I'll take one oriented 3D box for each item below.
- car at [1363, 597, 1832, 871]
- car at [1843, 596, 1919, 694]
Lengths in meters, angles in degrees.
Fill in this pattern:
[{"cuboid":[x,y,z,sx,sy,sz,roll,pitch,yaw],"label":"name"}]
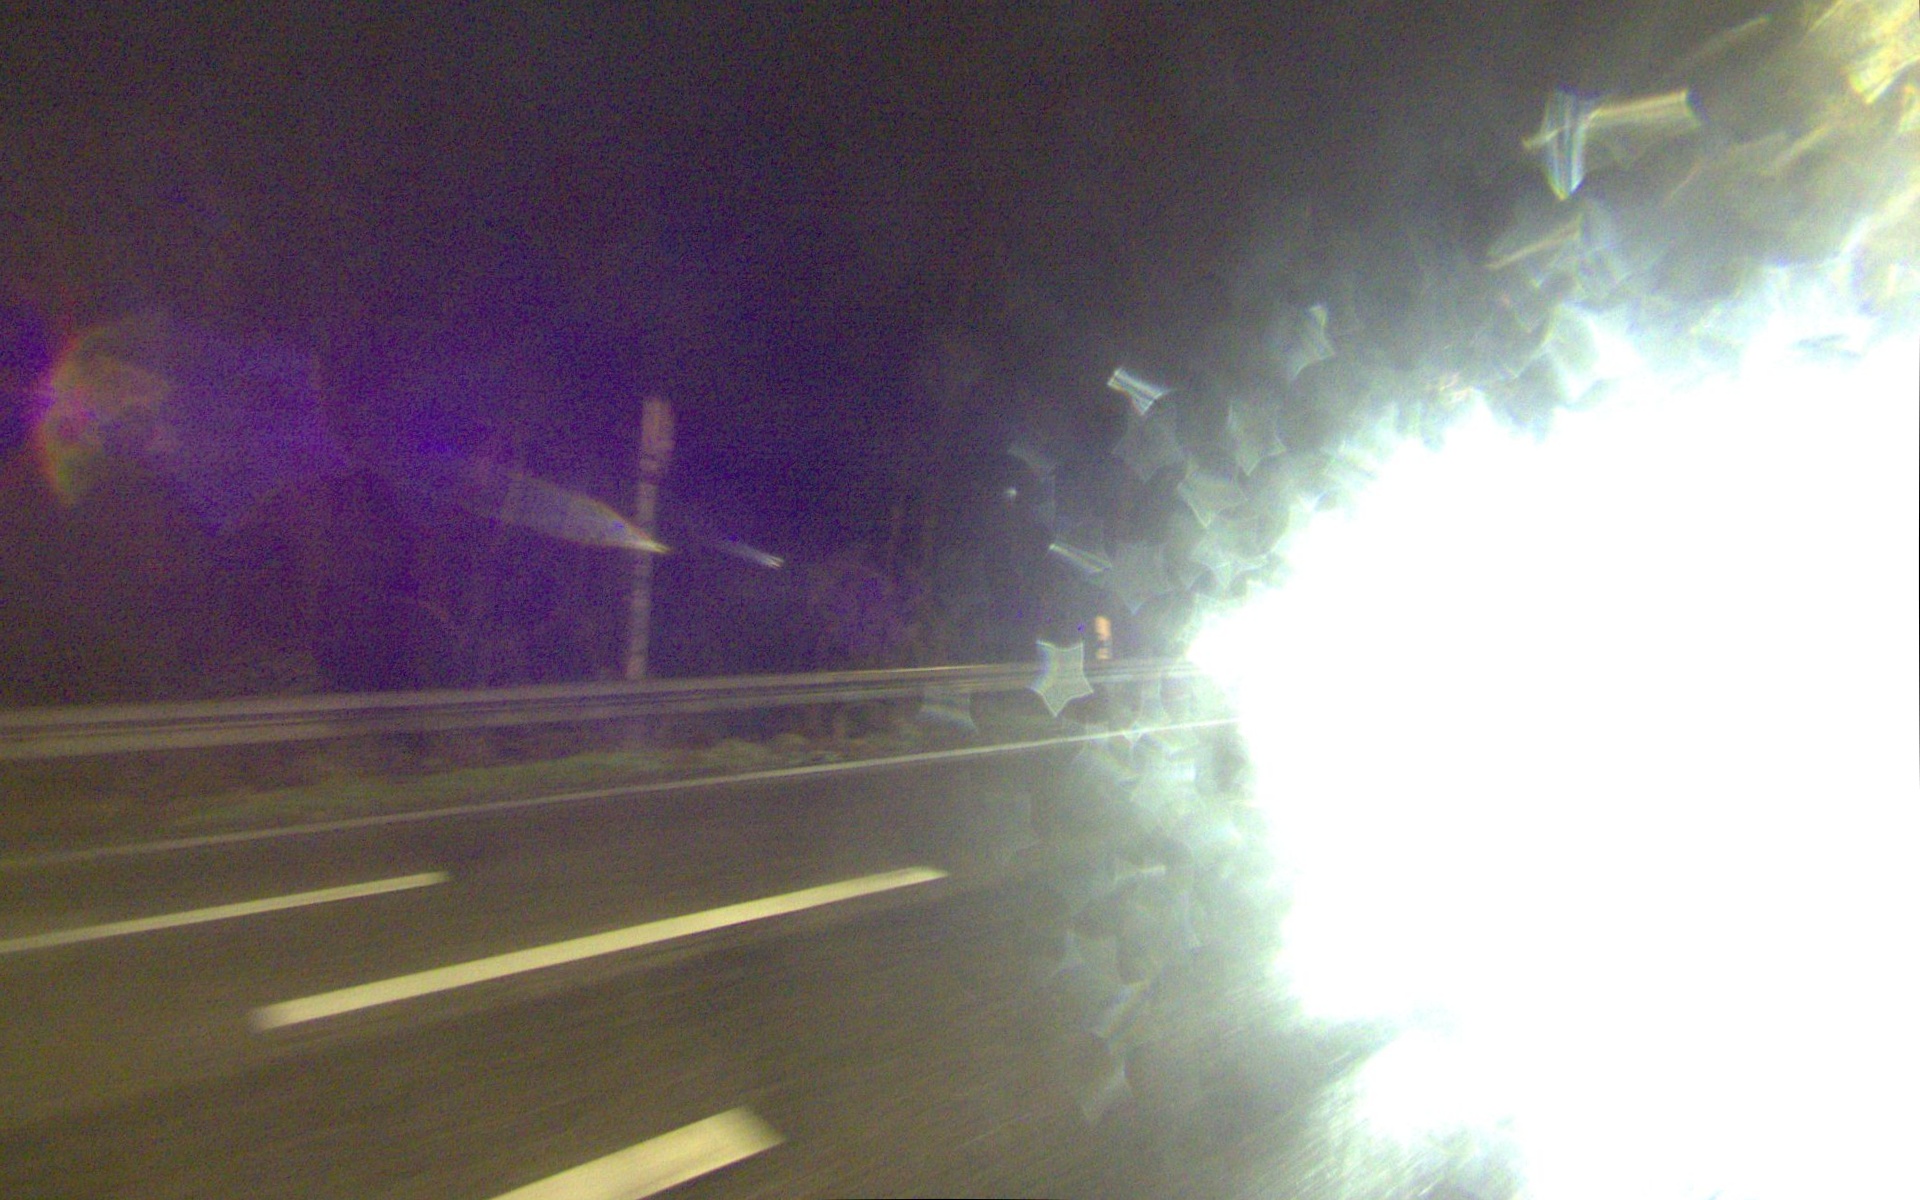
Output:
[{"cuboid":[5.004,0.721,7.628,4.642,1.467,1.734,0,-1,-41],"label":"car"},{"cuboid":[16.375,0.680,16.826,4.486,1.503,1.825,0,0,-39],"label":"car"}]
